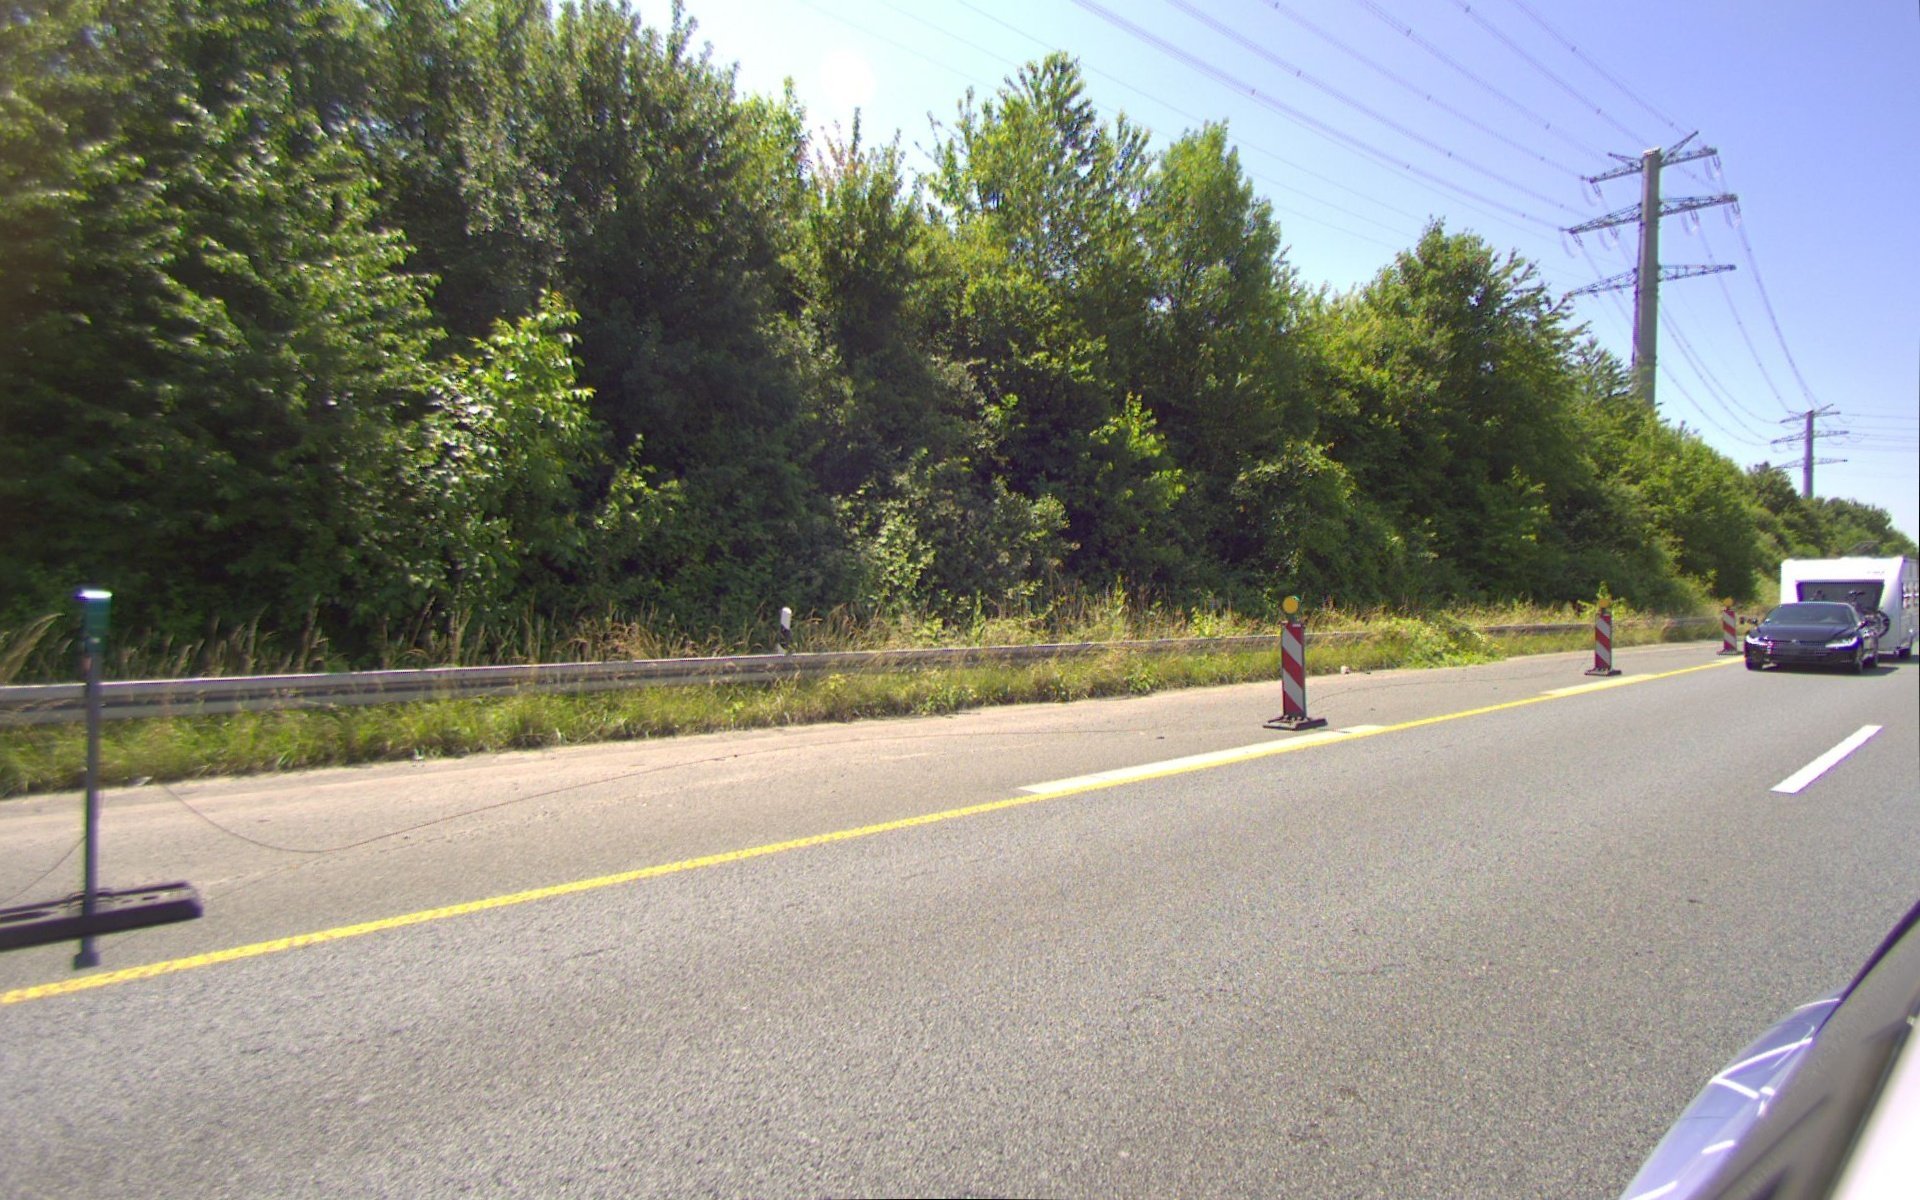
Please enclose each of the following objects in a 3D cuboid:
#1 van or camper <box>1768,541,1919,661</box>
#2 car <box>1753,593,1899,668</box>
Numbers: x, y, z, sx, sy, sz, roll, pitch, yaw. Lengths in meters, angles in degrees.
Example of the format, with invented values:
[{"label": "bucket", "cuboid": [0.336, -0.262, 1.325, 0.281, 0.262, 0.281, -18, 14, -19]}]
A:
[{"label": "van or camper", "cuboid": [22.782, -0.007, 25.501, 8.272, 2.597, 2.429, 0, 0, -42]}, {"label": "car", "cuboid": [18.239, 0.568, 21.257, 4.137, 1.425, 1.799, 0, 0, -42]}]
